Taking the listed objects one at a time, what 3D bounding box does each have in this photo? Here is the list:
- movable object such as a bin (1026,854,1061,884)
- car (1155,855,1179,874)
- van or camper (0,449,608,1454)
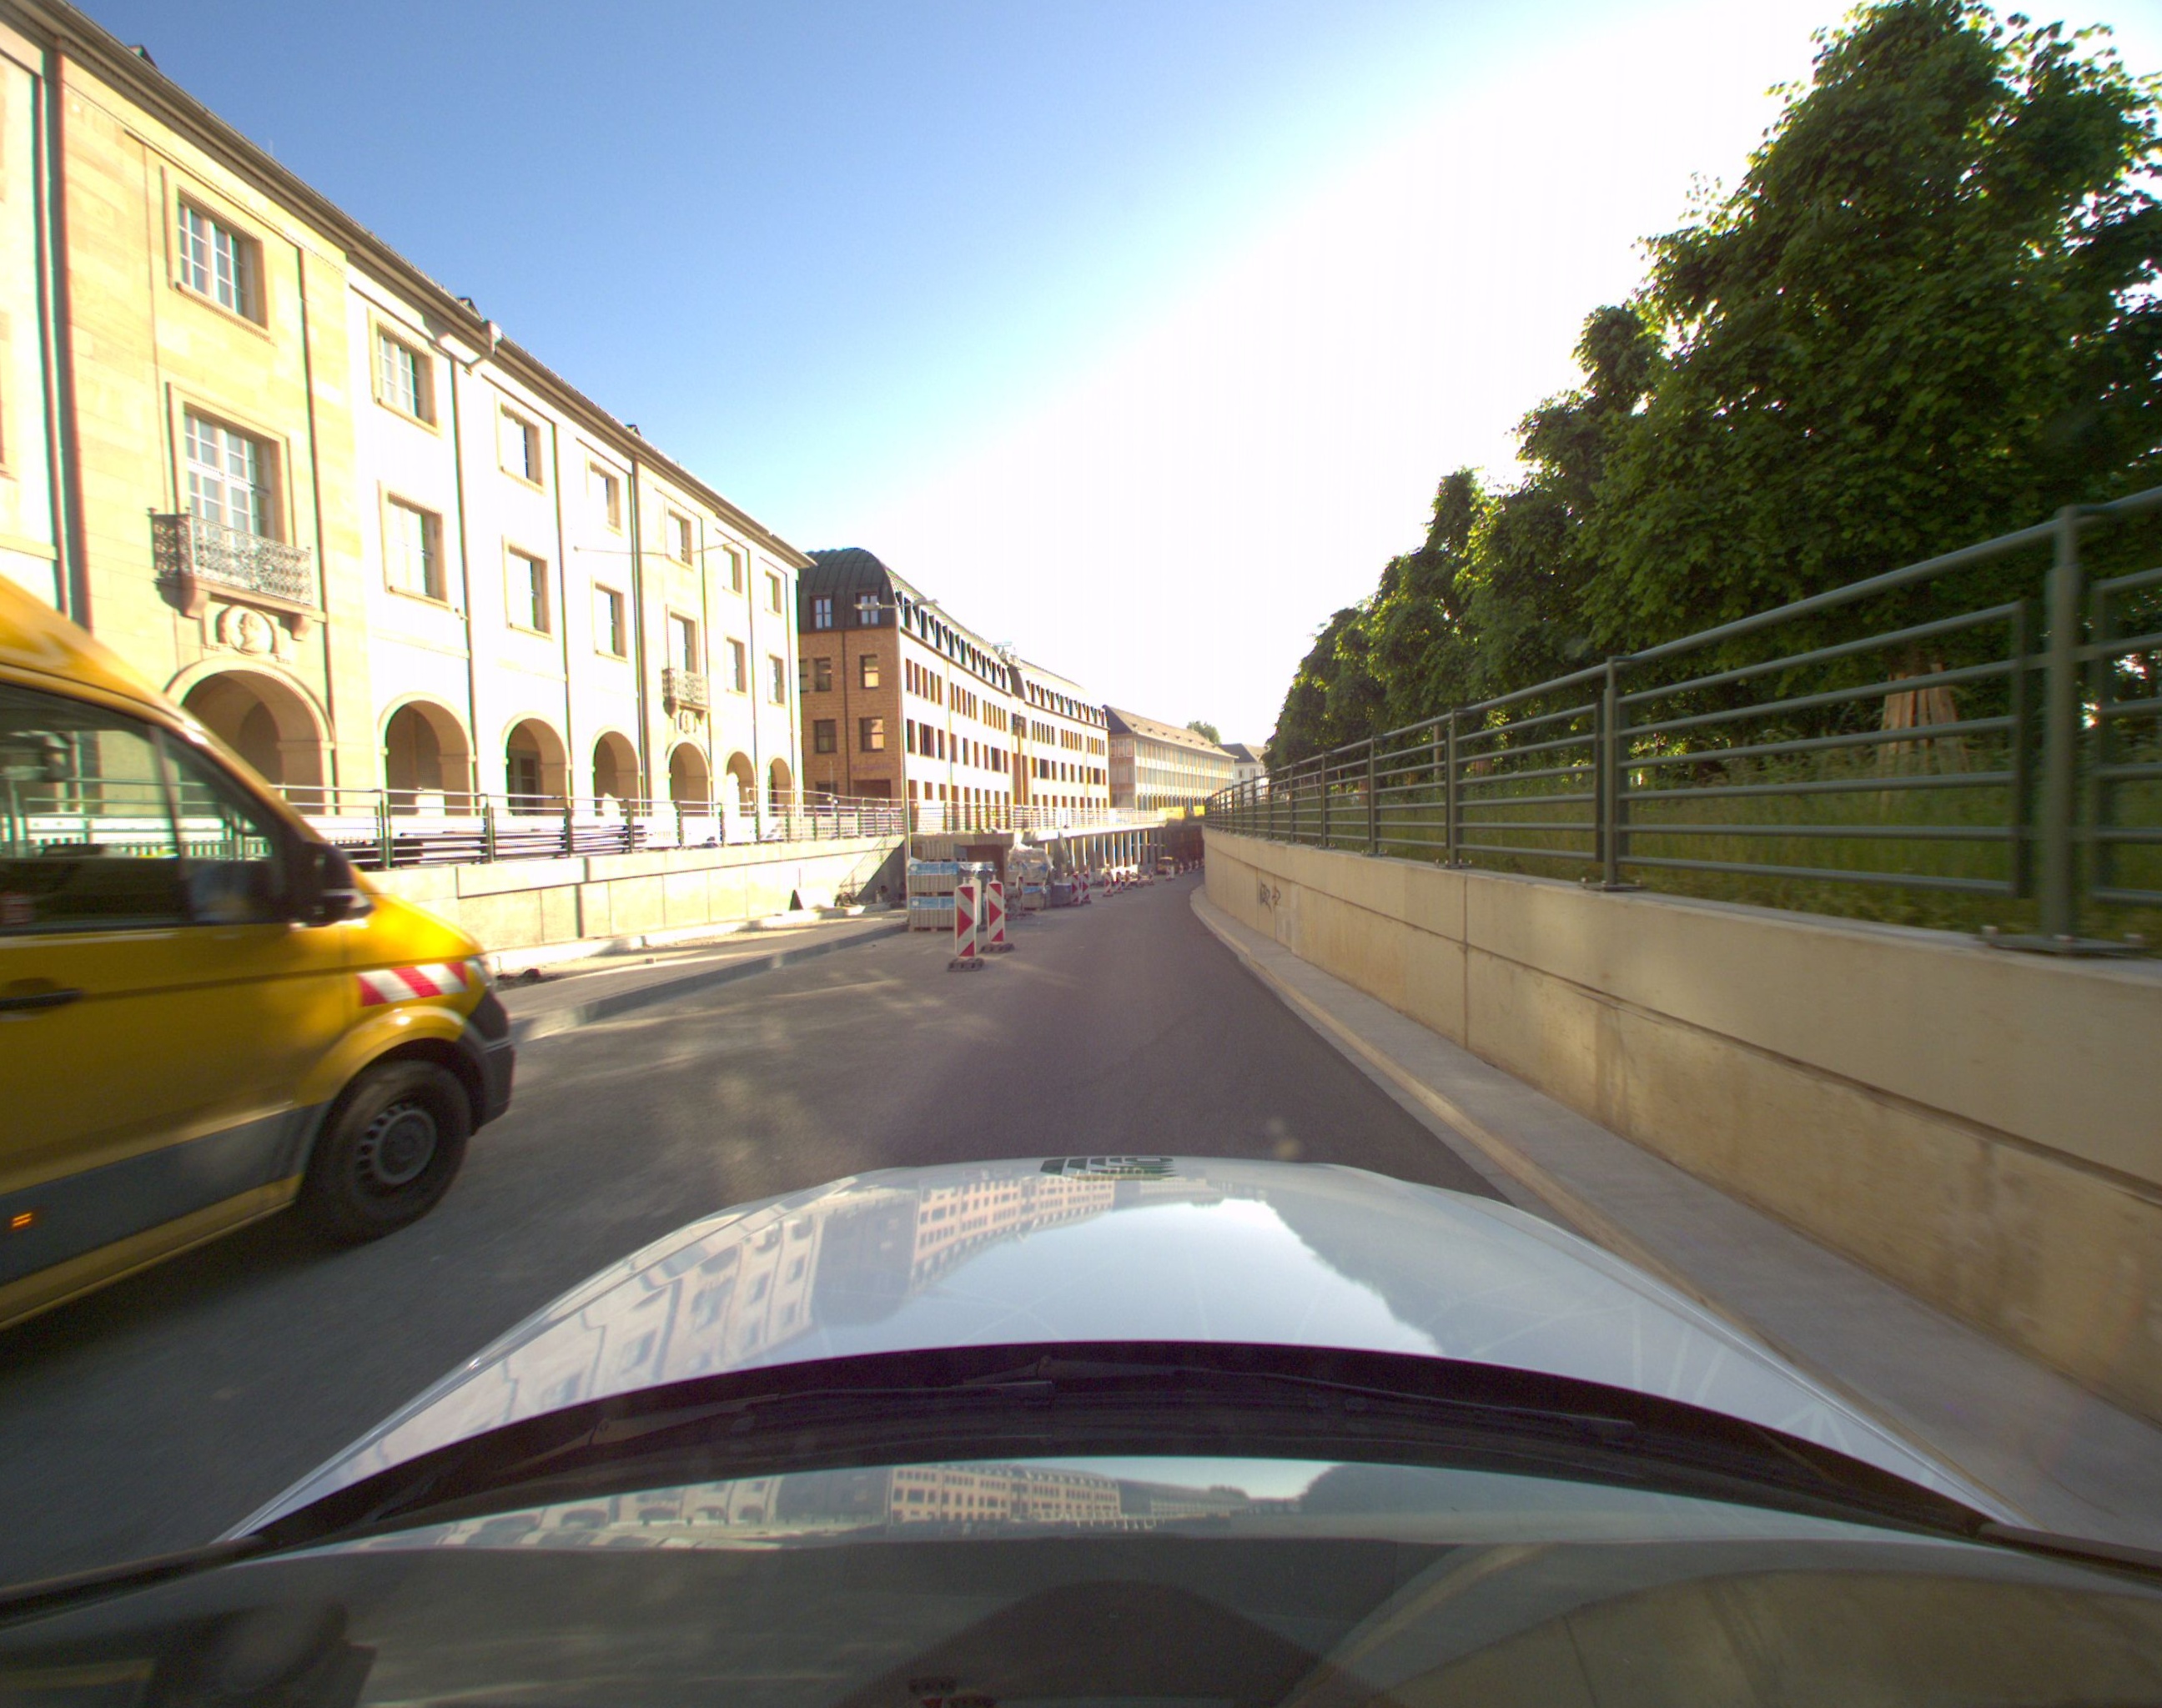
[{"bbox_3d":[-2.553,0.982,56.098,1.875,1.987,3.166,-1,0,8],"label":"movable object such as a bin"},{"bbox_3d":[9.210,1.121,86.678,1.834,1.775,4.453,-1,2,16],"label":"car"},{"bbox_3d":[-3.932,0.244,1.241,2.185,2.612,6.828,1,0,2],"label":"van or camper"}]
